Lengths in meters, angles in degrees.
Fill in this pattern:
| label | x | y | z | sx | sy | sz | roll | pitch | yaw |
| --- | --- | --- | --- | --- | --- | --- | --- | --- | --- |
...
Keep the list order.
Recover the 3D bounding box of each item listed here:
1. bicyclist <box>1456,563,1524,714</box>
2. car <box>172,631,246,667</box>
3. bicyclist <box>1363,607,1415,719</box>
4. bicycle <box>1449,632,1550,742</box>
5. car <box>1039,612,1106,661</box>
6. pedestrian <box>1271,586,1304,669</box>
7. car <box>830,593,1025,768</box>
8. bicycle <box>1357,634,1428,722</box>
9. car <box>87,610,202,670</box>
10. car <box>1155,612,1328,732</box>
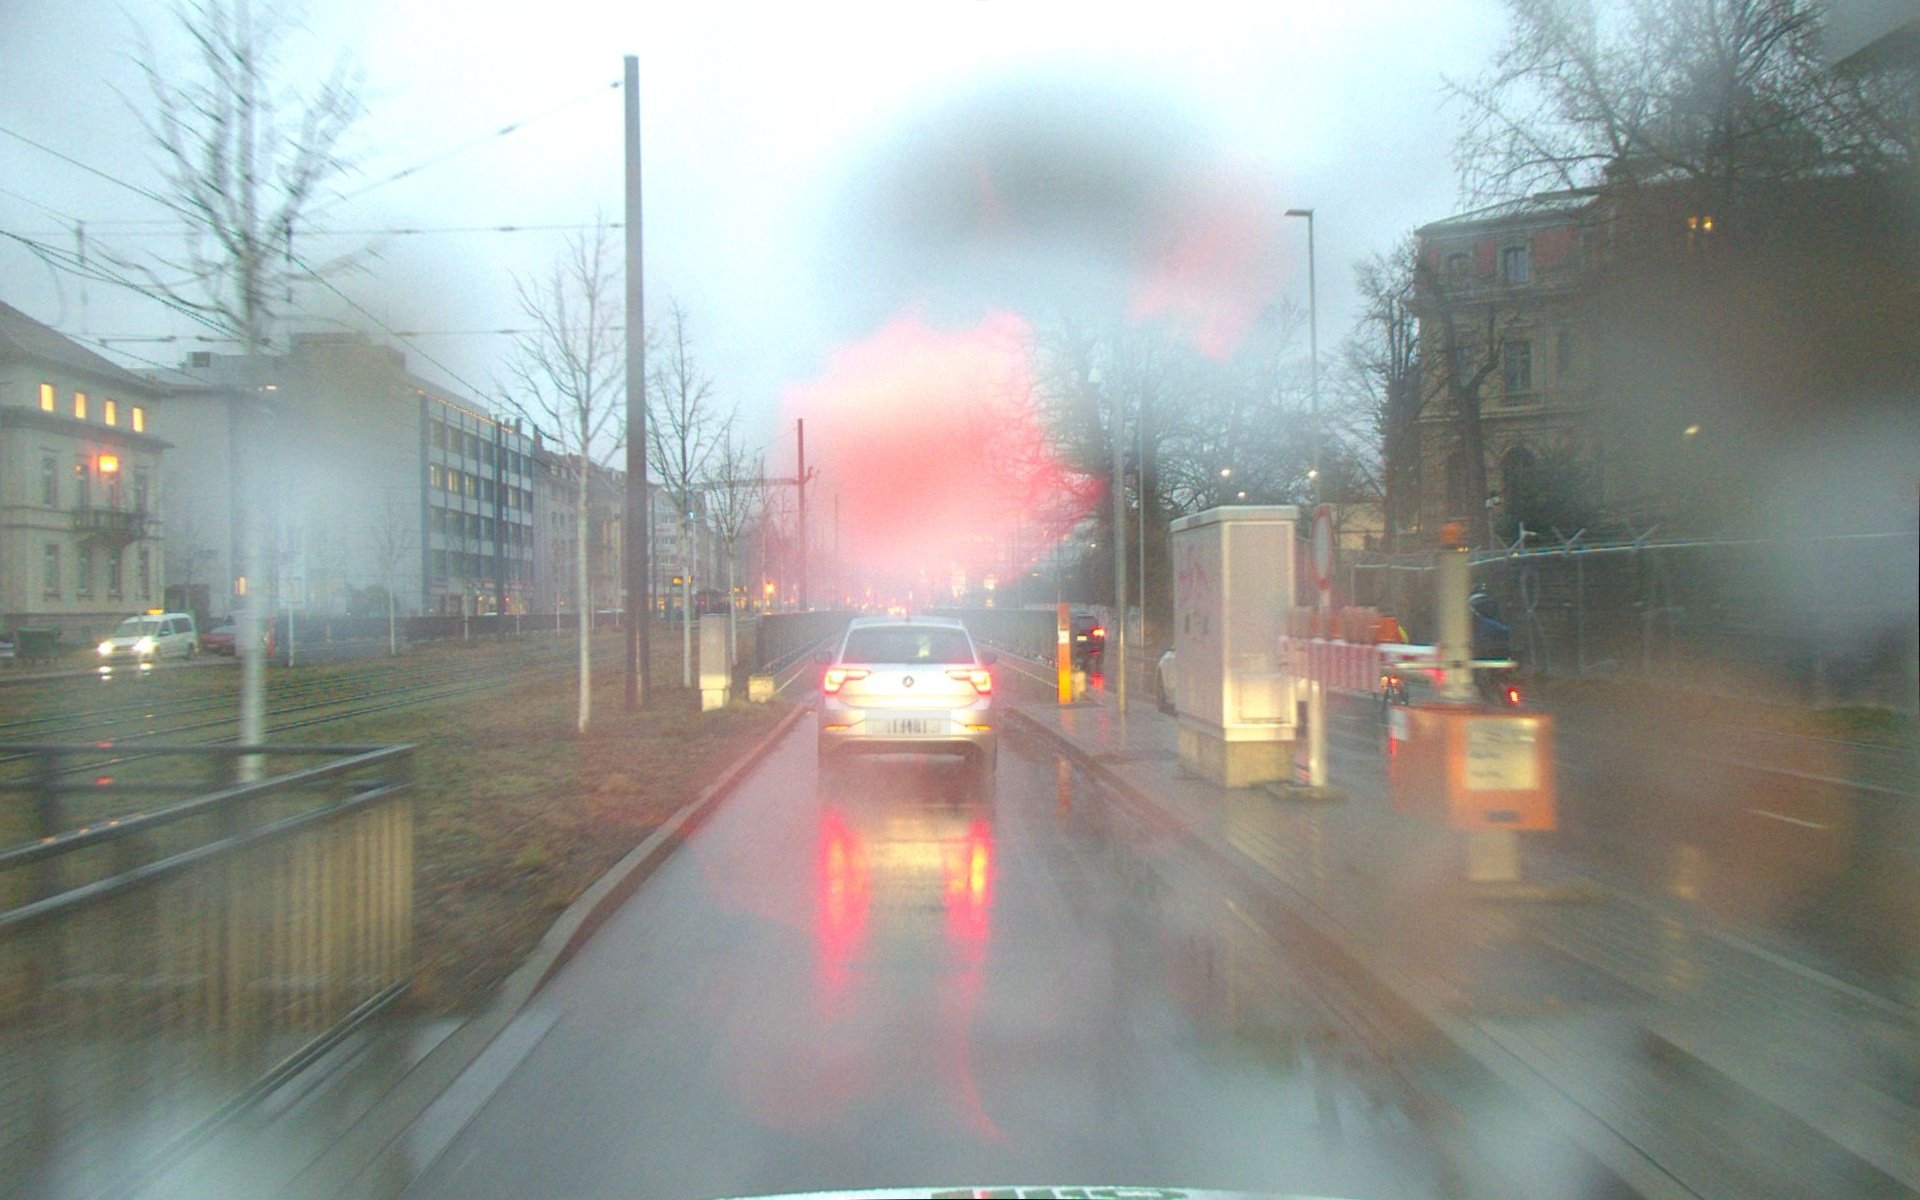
| label | x | y | z | sx | sy | sz | roll | pitch | yaw |
| --- | --- | --- | --- | --- | --- | --- | --- | --- | --- |
| bicyclist | 6.476 | 0.458 | 20.233 | 0.490 | 1.798 | 0.836 | -1 | 0 | -4 |
| car | -34.070 | 2.198 | 75.088 | 1.771 | 1.461 | 3.923 | -1 | 0 | -4 |
| bicyclist | 6.386 | 0.923 | 24.635 | 0.490 | 1.619 | 0.836 | -1 | 0 | -4 |
| bicycle | 6.465 | 1.014 | 19.905 | 0.403 | 1.206 | 2.027 | -1 | 0 | -4 |
| car | 3.184 | 1.034 | 47.413 | 1.590 | 1.322 | 3.999 | 1 | -1 | -1 |
| pedestrian | 7.719 | 0.644 | 39.021 | 0.521 | 1.912 | 0.900 | -1 | 0 | -4 |
| car | -0.315 | 0.738 | 16.547 | 1.687 | 1.505 | 3.999 | 1 | -1 | -1 |
| bicycle | 6.404 | 1.135 | 24.558 | 0.403 | 1.206 | 1.946 | -1 | 0 | -4 |
| car | -29.352 | 1.397 | 59.707 | 1.954 | 1.967 | 4.907 | -1 | 0 | -4 |
| car | 3.867 | 0.962 | 23.304 | 1.687 | 1.505 | 3.999 | 1 | -1 | -1 |
